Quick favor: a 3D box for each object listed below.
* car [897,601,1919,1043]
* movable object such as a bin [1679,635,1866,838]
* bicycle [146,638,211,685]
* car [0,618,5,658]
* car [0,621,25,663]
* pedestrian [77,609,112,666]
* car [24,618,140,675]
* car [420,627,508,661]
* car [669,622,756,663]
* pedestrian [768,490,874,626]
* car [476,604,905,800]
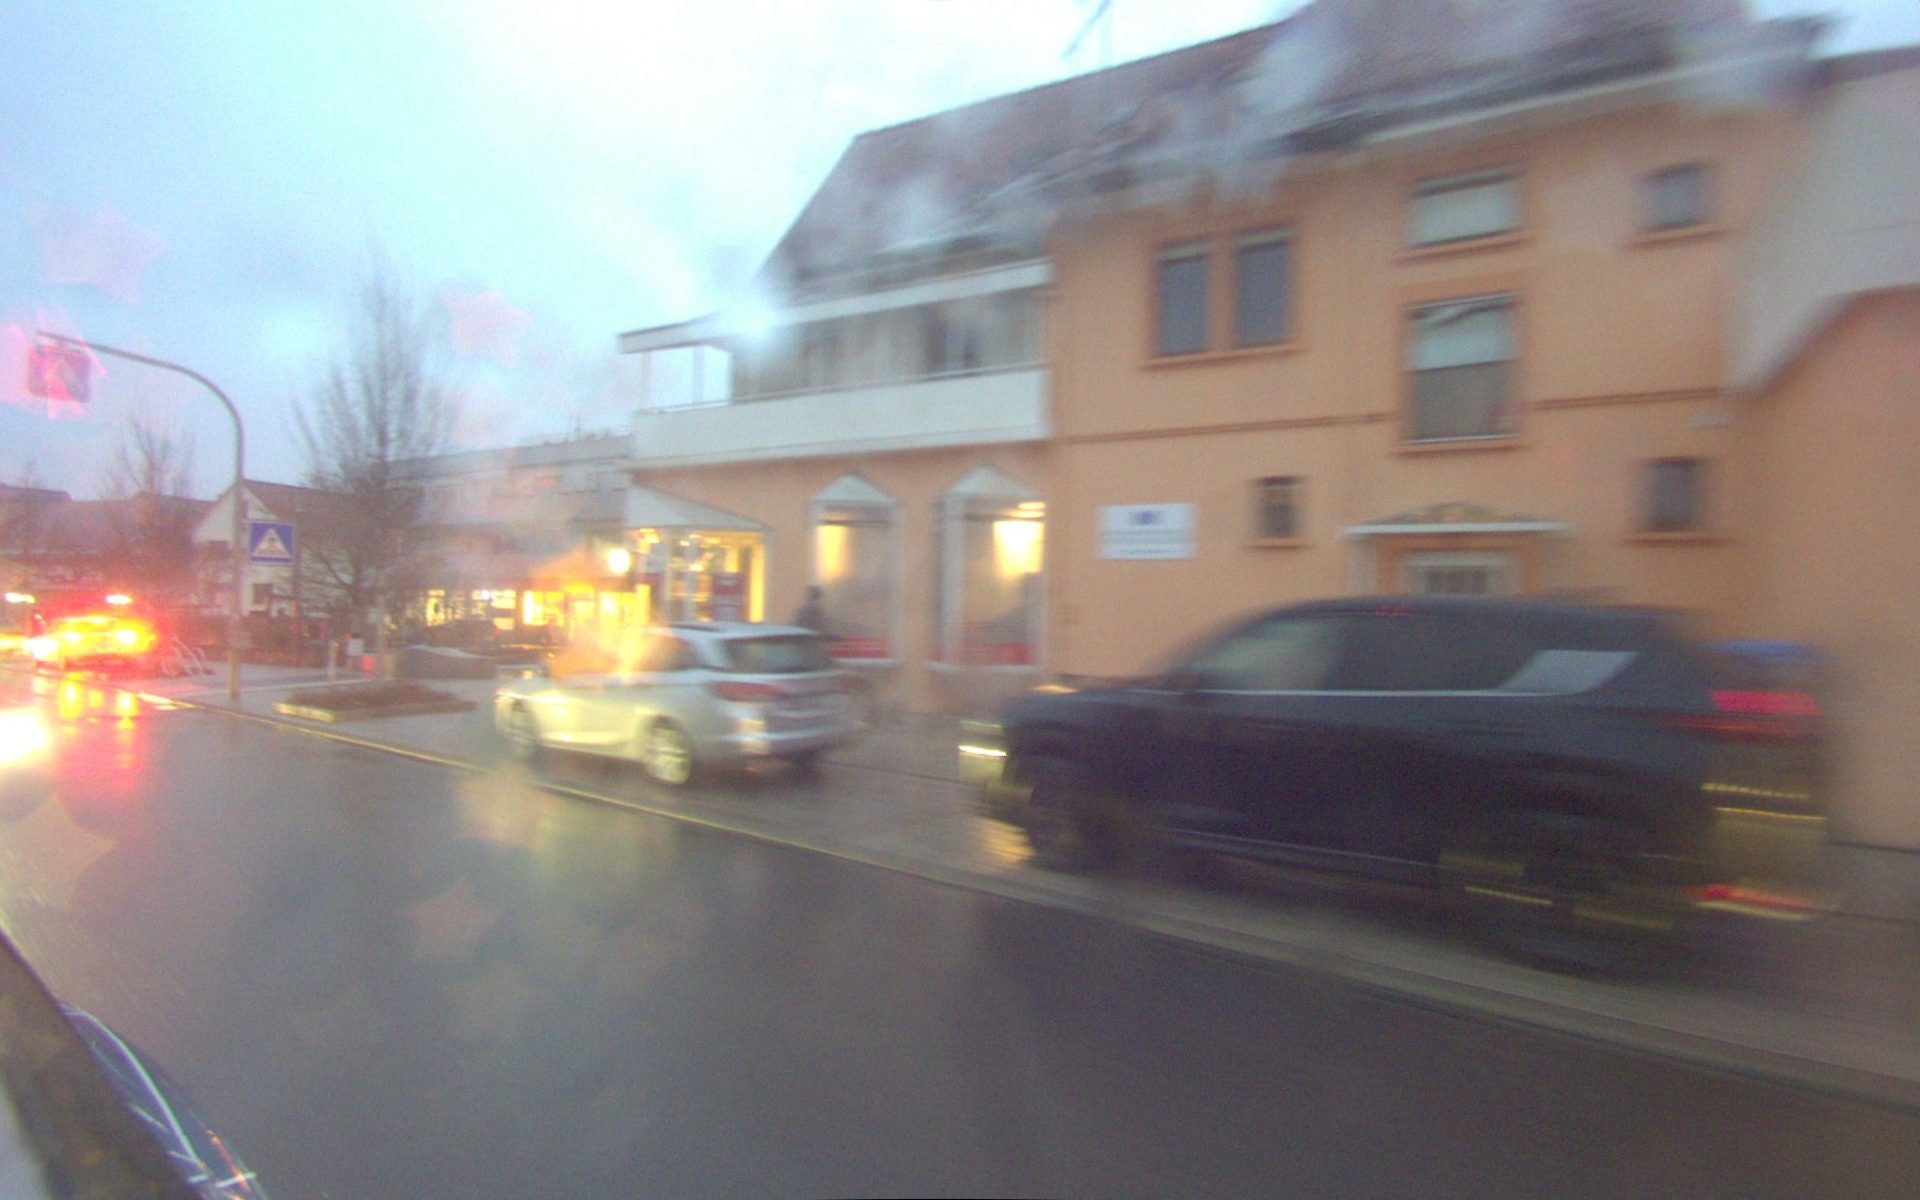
[{"bbox_3d":[2.122,0.805,5.810,4.973,1.534,1.974,-1,-1,40],"label":"car"},{"bbox_3d":[6.135,0.985,7.738,0.885,1.364,1.331,0,-4,30],"label":"movable object such as a bin"},{"bbox_3d":[-18.305,1.439,23.684,1.733,1.070,0.322,-2,-7,23],"label":"bicycle"},{"bbox_3d":[-38.973,1.483,39.352,3.660,1.546,1.860,-1,0,33],"label":"car"},{"bbox_3d":[-34.821,1.490,35.919,4.370,1.442,1.678,-1,-1,37],"label":"car"},{"bbox_3d":[-31.016,1.330,36.265,0.890,2.029,0.791,1,-2,-44],"label":"pedestrian"},{"bbox_3d":[-25.756,1.312,29.656,4.175,1.500,1.768,0,0,37],"label":"car"},{"bbox_3d":[-24.414,2.141,49.804,3.983,1.576,1.980,0,-3,30],"label":"car"},{"bbox_3d":[-11.876,2.053,48.775,1.990,1.858,3.963,0,-2,27],"label":"car"},{"bbox_3d":[-1.793,-0.516,13.058,1.095,1.671,0.819,-1,0,36],"label":"pedestrian"},{"bbox_3d":[-2.923,0.853,10.399,4.617,1.570,1.973,-1,0,40],"label":"car"}]
